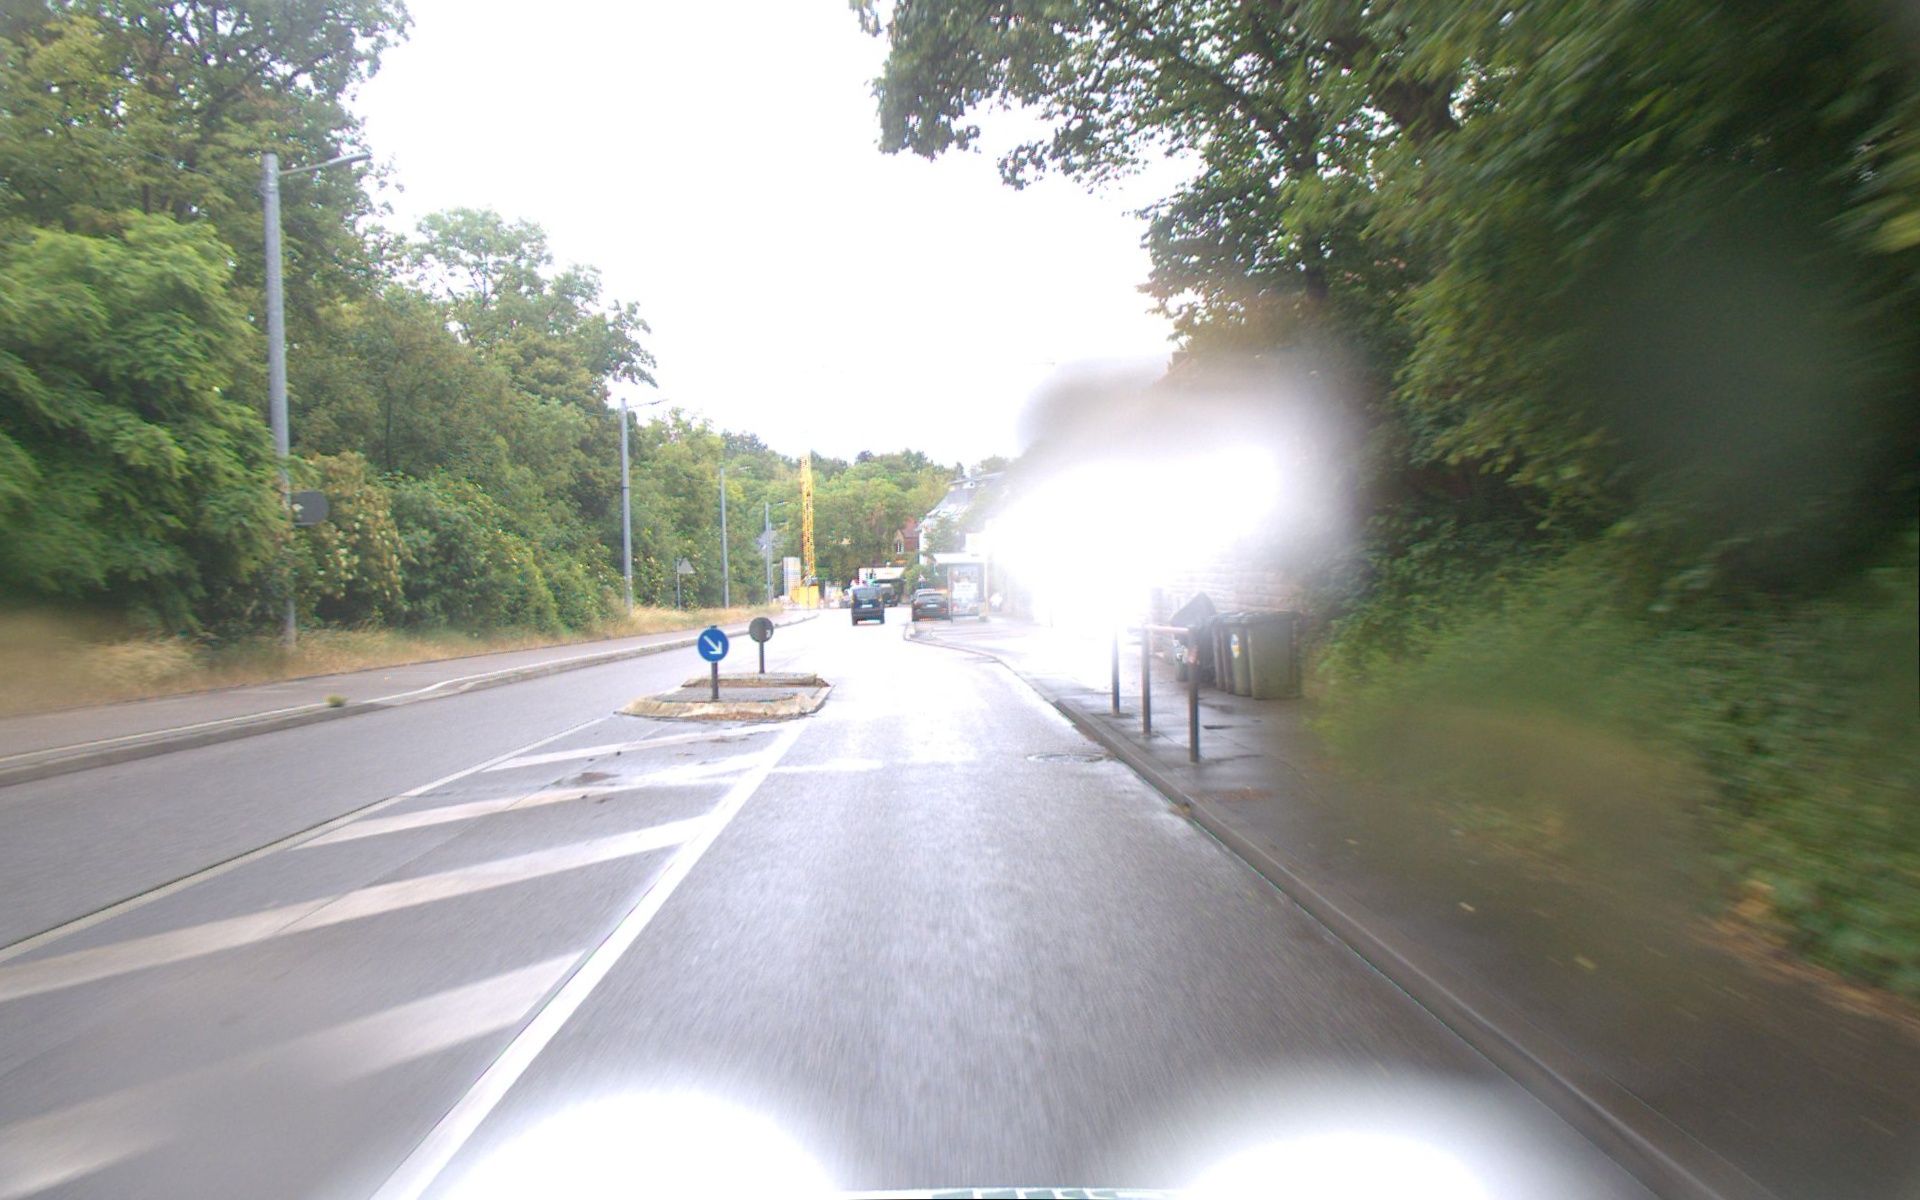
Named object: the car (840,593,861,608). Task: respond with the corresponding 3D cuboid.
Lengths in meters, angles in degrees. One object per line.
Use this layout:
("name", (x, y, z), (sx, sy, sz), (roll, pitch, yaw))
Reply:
("car", (-12.340, 0.044, 186.437), (1.711, 1.579, 3.840), (-1, 0, -15))

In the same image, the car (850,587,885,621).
("car", (-4.648, 0.189, 83.436), (1.634, 1.621, 3.682), (-1, 0, -1))

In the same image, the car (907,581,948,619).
("car", (-1.597, 0.001, 81.540), (1.953, 1.803, 4.113), (0, 0, -1))

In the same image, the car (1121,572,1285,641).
("car", (5.894, 0.143, 40.338), (3.694, 1.580, 1.608), (-1, 0, -3))

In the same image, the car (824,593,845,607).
("car", (-14.560, -0.020, 192.100), (1.711, 1.579, 3.840), (1, 0, -15))

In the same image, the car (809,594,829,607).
("car", (-16.855, 0.082, 197.873), (1.711, 1.579, 3.840), (-1, 0, -15))
